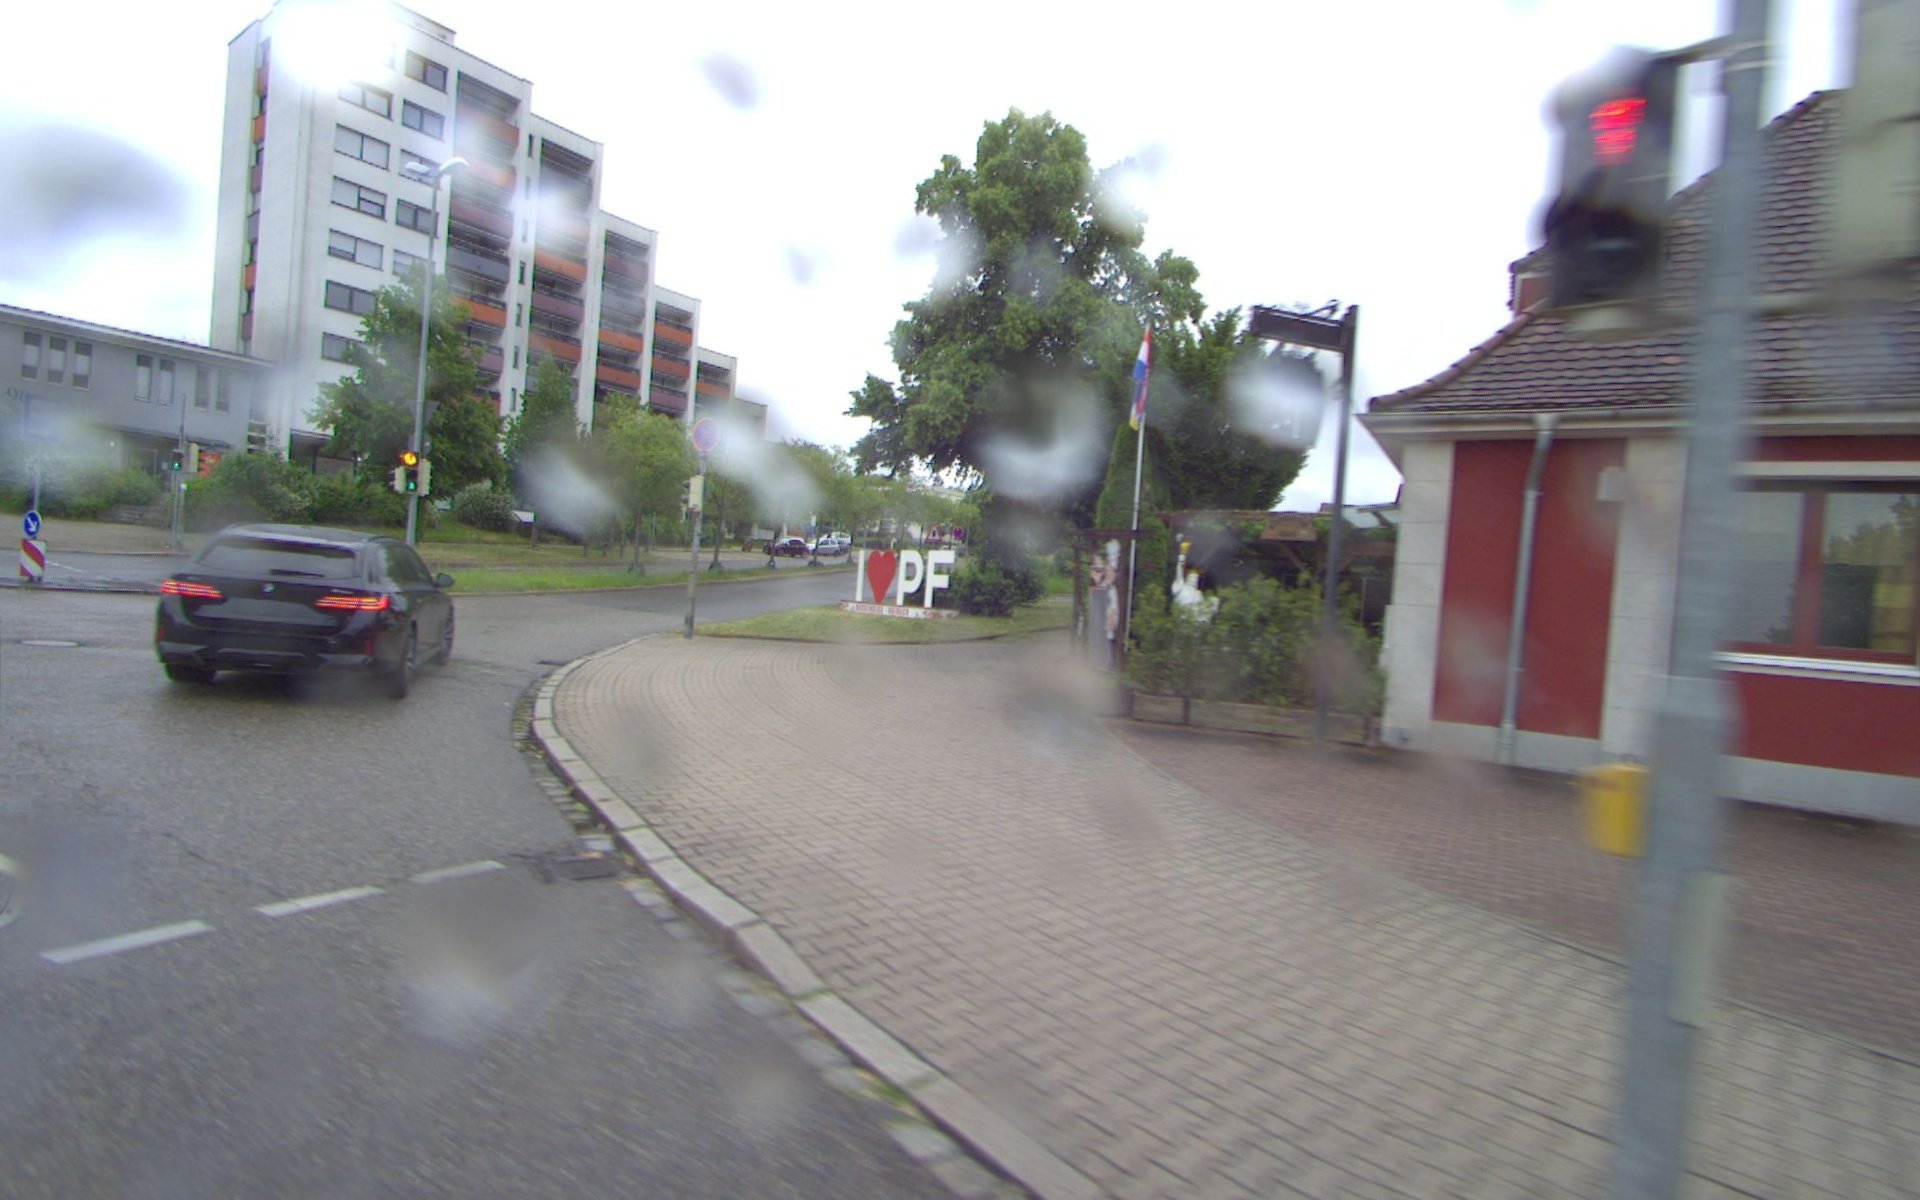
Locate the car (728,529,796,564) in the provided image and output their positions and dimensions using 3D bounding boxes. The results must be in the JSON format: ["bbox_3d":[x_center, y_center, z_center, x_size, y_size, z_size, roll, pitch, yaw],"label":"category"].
[{"bbox_3d":[-14.546,-3.914,73.918,4.283,2.038,2.001,6,-1,17],"label":"car"}]

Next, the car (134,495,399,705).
[{"bbox_3d":[-6.491,-0.017,9.785,1.510,1.552,3.509,7,-1,-27],"label":"car"}]

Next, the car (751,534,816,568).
[{"bbox_3d":[-13.409,-3.717,76.558,4.283,2.038,2.001,6,-1,17],"label":"car"}]
